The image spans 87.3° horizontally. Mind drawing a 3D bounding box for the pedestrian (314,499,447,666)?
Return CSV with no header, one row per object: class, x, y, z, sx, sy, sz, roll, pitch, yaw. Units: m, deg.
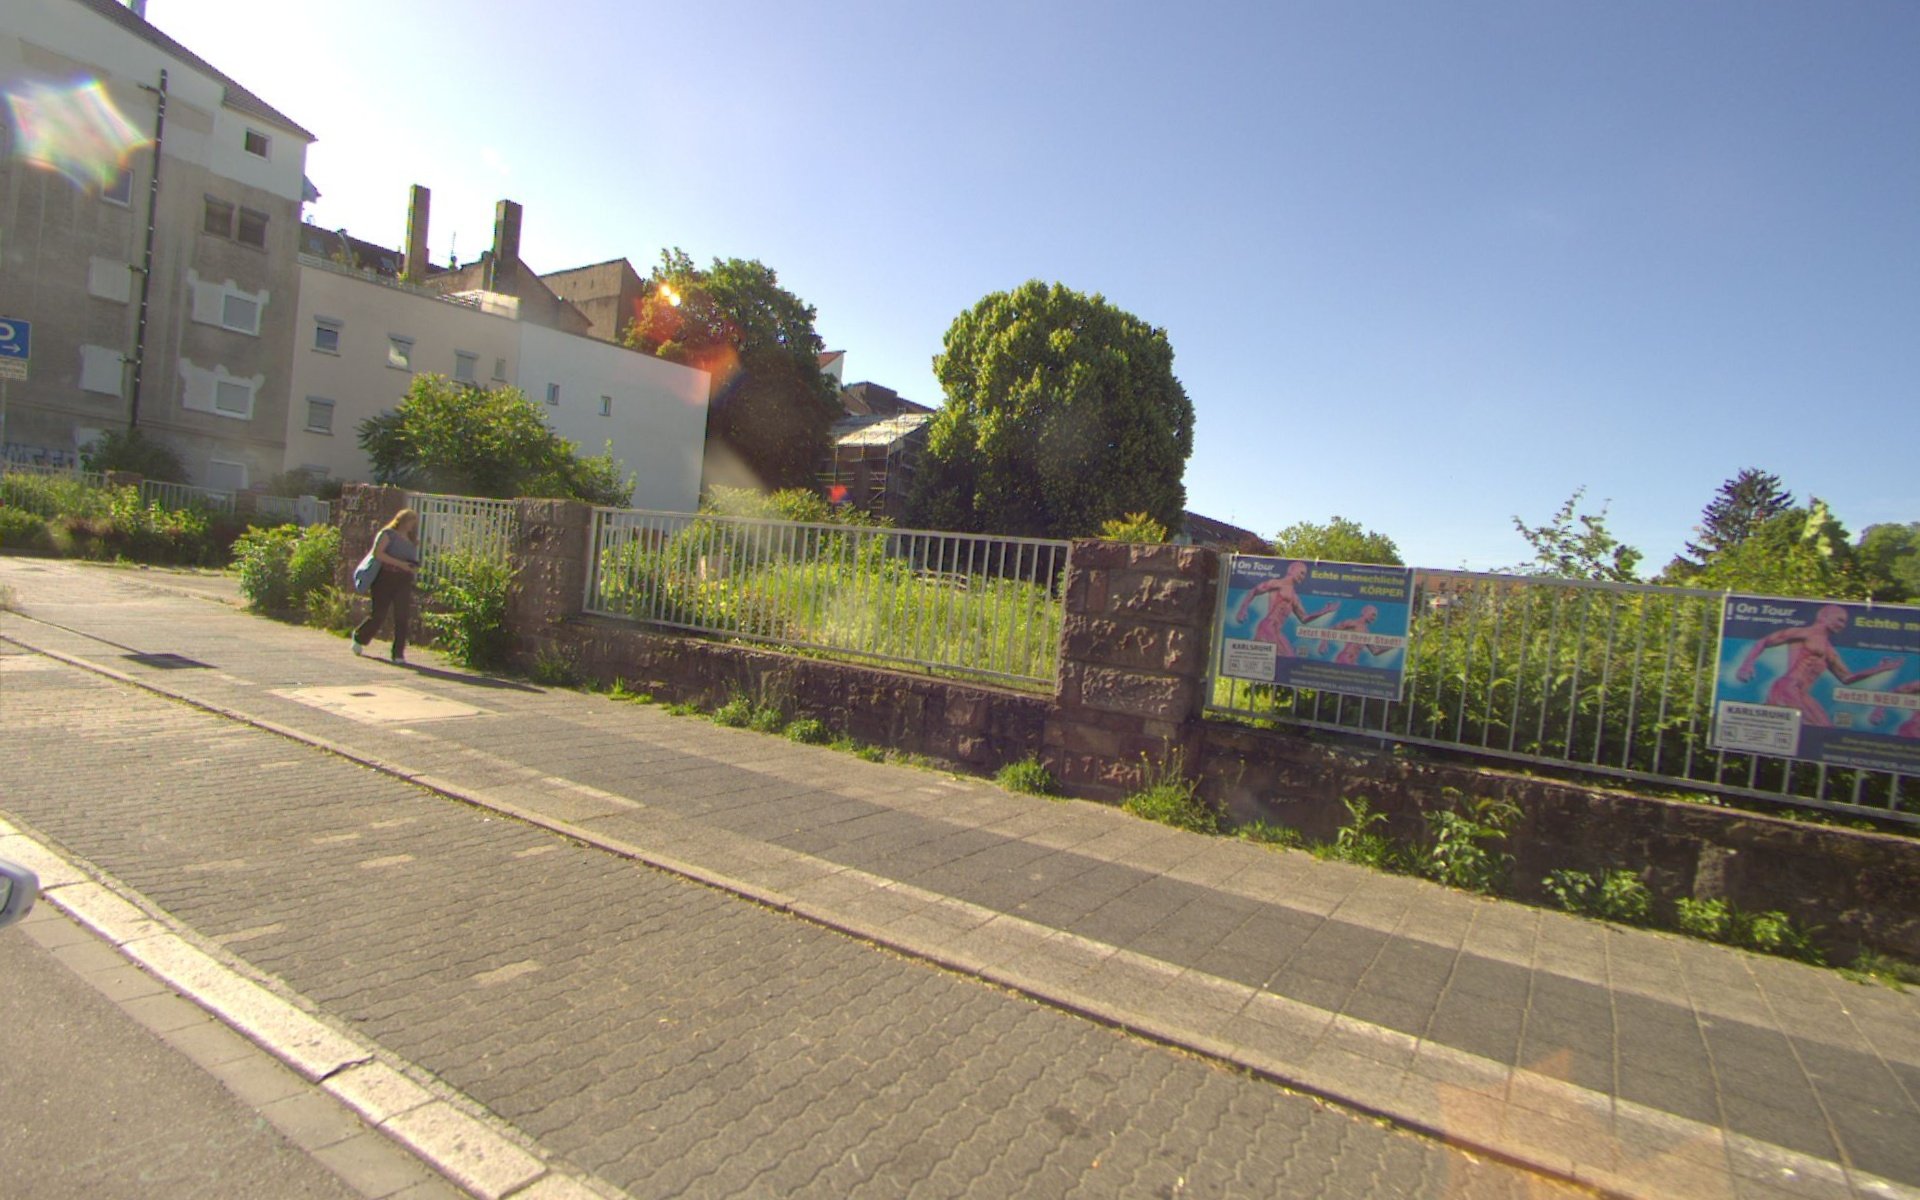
pedestrian,-5.999,-0.176,10.425,0.882,1.603,0.744,7,1,32
